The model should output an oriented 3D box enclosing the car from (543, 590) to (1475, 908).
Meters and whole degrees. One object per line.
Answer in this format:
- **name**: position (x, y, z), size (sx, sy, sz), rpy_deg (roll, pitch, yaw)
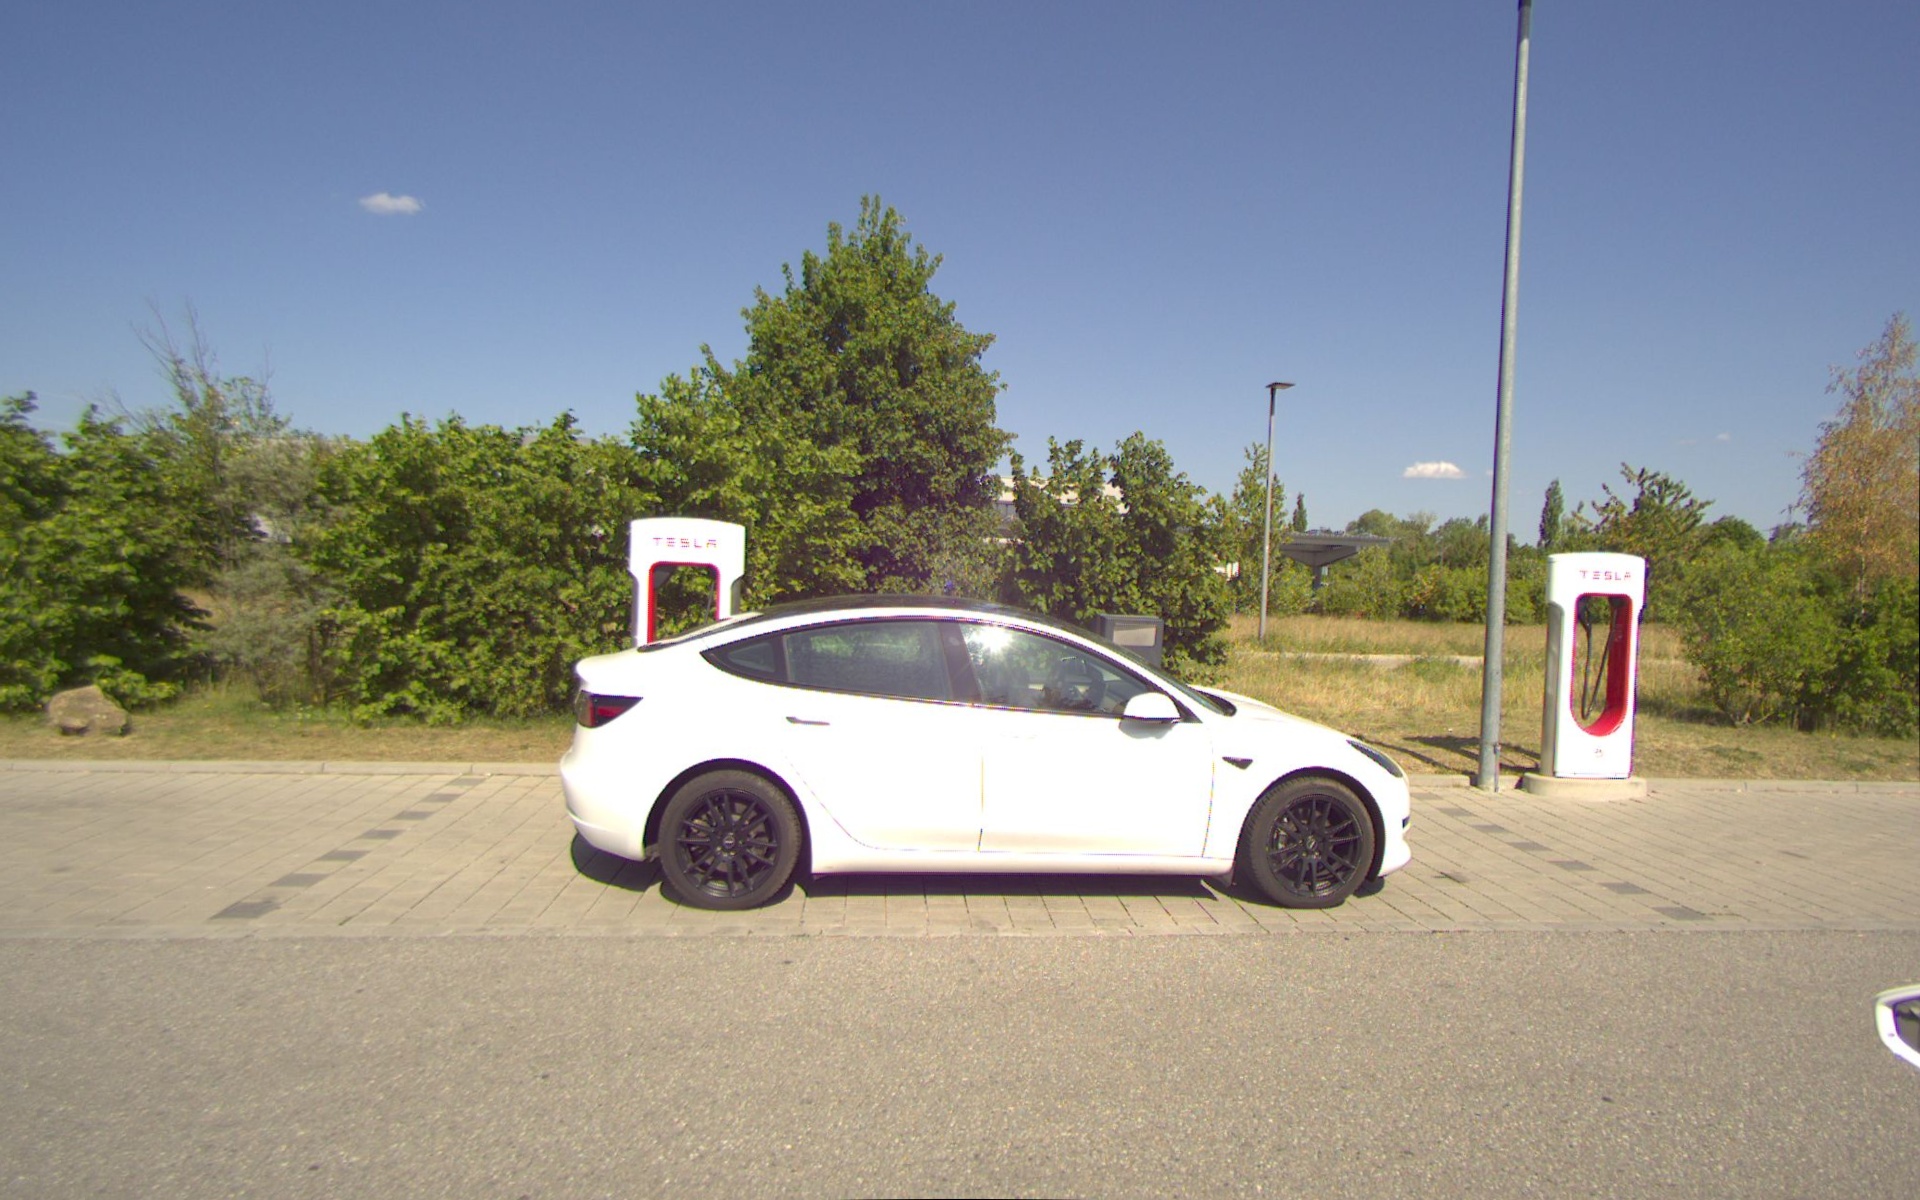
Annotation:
- **car**: position (0.237, 0.719, 5.628), size (4.363, 1.396, 1.821), rpy_deg (2, 2, -4)
